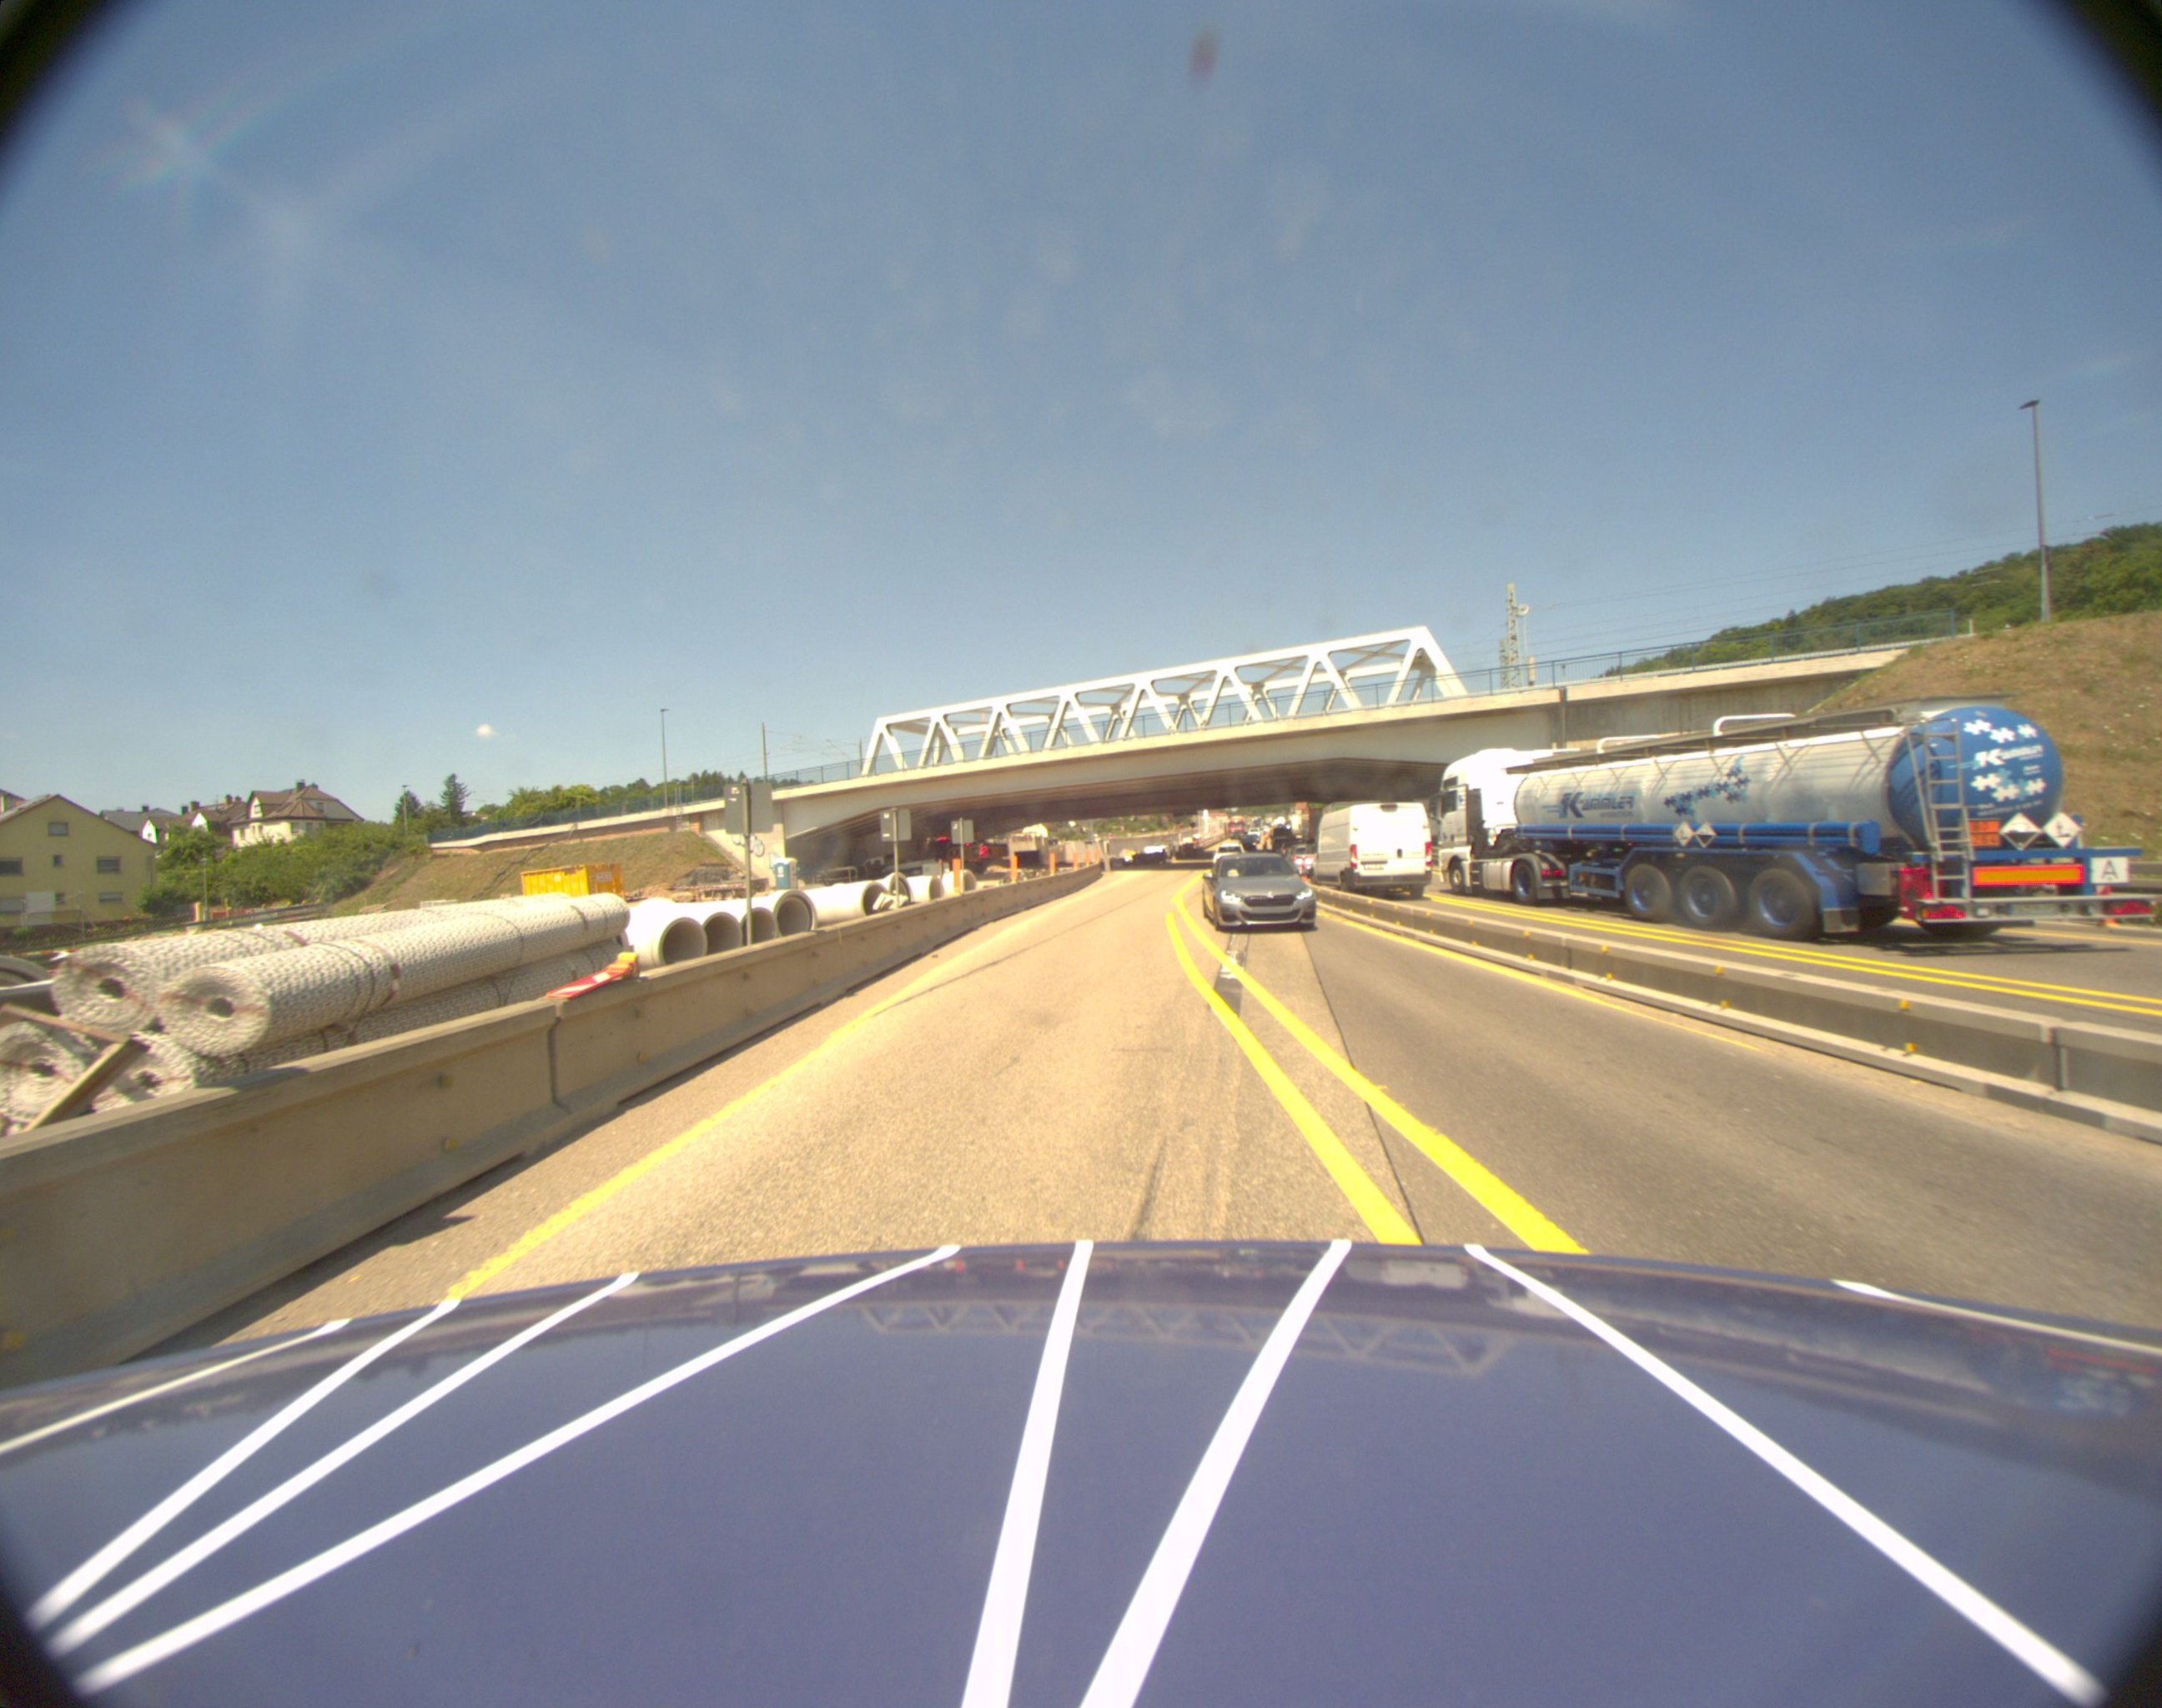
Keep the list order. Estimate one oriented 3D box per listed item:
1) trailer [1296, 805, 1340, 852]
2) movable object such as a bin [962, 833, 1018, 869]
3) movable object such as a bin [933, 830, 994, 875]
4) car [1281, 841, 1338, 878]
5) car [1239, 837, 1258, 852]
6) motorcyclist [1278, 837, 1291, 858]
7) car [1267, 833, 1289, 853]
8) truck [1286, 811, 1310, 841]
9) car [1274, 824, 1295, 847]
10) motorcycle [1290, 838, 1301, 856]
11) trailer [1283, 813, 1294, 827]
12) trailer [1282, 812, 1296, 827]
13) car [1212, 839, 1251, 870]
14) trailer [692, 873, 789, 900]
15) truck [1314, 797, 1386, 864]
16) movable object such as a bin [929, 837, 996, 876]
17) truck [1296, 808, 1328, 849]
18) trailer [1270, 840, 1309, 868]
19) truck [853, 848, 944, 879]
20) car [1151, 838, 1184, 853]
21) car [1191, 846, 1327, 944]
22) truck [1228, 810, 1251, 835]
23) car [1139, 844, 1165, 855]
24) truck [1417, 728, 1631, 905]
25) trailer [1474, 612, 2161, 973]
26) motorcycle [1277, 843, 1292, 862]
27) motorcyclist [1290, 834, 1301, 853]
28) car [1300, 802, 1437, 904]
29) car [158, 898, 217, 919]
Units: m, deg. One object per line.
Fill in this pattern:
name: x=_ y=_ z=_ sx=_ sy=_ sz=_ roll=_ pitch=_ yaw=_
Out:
trailer: x=22.871 y=-2.470 z=74.089 sx=2.881 sy=4.017 sz=14.368 roll=-4 pitch=1 yaw=13
movable object such as a bin: x=-9.212 y=-0.317 z=76.890 sx=4.559 sy=3.269 sz=2.992 roll=-4 pitch=3 yaw=18
movable object such as a bin: x=-10.096 y=-0.150 z=65.381 sx=3.885 sy=3.523 sz=2.906 roll=-3 pitch=3 yaw=25
car: x=10.052 y=0.194 z=33.731 sx=1.848 sy=1.455 sz=4.526 roll=-2 pitch=1 yaw=10
car: x=18.909 y=-1.090 z=86.100 sx=1.799 sy=1.543 sz=4.002 roll=-3 pitch=1 yaw=9
motorcyclist: x=13.987 y=-0.460 z=52.231 sx=0.812 sy=1.409 sz=0.743 roll=-2 pitch=3 yaw=12
car: x=17.405 y=-0.970 z=67.194 sx=1.749 sy=1.661 sz=4.082 roll=-2 pitch=1 yaw=13
truck: x=34.128 y=-4.587 z=120.090 sx=2.773 sy=4.290 sz=13.495 roll=-2 pitch=3 yaw=13
car: x=21.714 y=-2.026 z=81.076 sx=1.983 sy=2.317 sz=6.062 roll=-2 pitch=2 yaw=15
motorcycle: x=16.556 y=-0.526 z=58.685 sx=0.703 sy=1.272 sz=2.736 roll=-2 pitch=2 yaw=14
trailer: x=62.484 y=-10.323 z=228.153 sx=2.603 sy=3.850 sz=11.281 roll=-2 pitch=3 yaw=18
trailer: x=55.140 y=-9.205 z=201.189 sx=2.659 sy=3.795 sz=11.830 roll=-2 pitch=3 yaw=19
car: x=8.527 y=-0.018 z=42.736 sx=1.836 sy=1.465 sz=4.392 roll=-2 pitch=3 yaw=15
trailer: x=-19.326 y=1.840 z=43.185 sx=4.720 sy=1.213 sz=2.057 roll=-2 pitch=3 yaw=14
truck: x=16.038 y=-1.388 z=45.921 sx=2.822 sy=3.555 sz=8.503 roll=-3 pitch=1 yaw=12
movable object such as a bin: x=-10.861 y=0.227 z=69.829 sx=5.246 sy=3.040 sz=2.498 roll=-4 pitch=3 yaw=18
truck: x=24.650 y=-2.705 z=81.333 sx=2.878 sy=4.028 sz=4.889 roll=-4 pitch=1 yaw=14
trailer: x=12.055 y=-0.050 z=44.069 sx=1.667 sy=1.423 sz=4.001 roll=-2 pitch=2 yaw=8
truck: x=-14.752 y=0.792 z=61.511 sx=6.530 sy=2.061 sz=2.668 roll=-3 pitch=1 yaw=18
car: x=17.804 y=-1.761 z=156.291 sx=6.302 sy=2.566 sz=2.055 roll=-6 pitch=1 yaw=1
car: x=3.370 y=0.685 z=15.265 sx=1.838 sy=1.588 sz=4.389 roll=-2 pitch=1 yaw=3
truck: x=28.609 y=-5.711 z=136.912 sx=3.459 sy=4.025 sz=10.216 roll=-2 pitch=3 yaw=15
car: x=14.113 y=-0.914 z=150.037 sx=4.796 sy=1.759 sz=1.721 roll=-4 pitch=1 yaw=15
truck: x=10.942 y=-0.867 z=19.371 sx=2.540 sy=3.800 sz=4.950 roll=-3 pitch=1 yaw=2
trailer: x=10.738 y=-0.734 z=13.368 sx=2.531 sy=3.767 sz=10.244 roll=-3 pitch=1 yaw=2
motorcycle: x=14.049 y=-0.132 z=52.491 sx=0.834 sy=1.143 sz=2.792 roll=-2 pitch=2 yaw=12
motorcyclist: x=16.587 y=-0.825 z=58.757 sx=0.719 sy=1.409 sz=0.743 roll=-2 pitch=3 yaw=12
car: x=8.164 y=-0.082 z=22.395 sx=2.075 sy=2.489 sz=6.485 roll=-2 pitch=1 yaw=6
car: x=-74.079 y=4.501 z=62.984 sx=4.159 sy=1.500 sz=1.579 roll=-2 pitch=3 yaw=17
